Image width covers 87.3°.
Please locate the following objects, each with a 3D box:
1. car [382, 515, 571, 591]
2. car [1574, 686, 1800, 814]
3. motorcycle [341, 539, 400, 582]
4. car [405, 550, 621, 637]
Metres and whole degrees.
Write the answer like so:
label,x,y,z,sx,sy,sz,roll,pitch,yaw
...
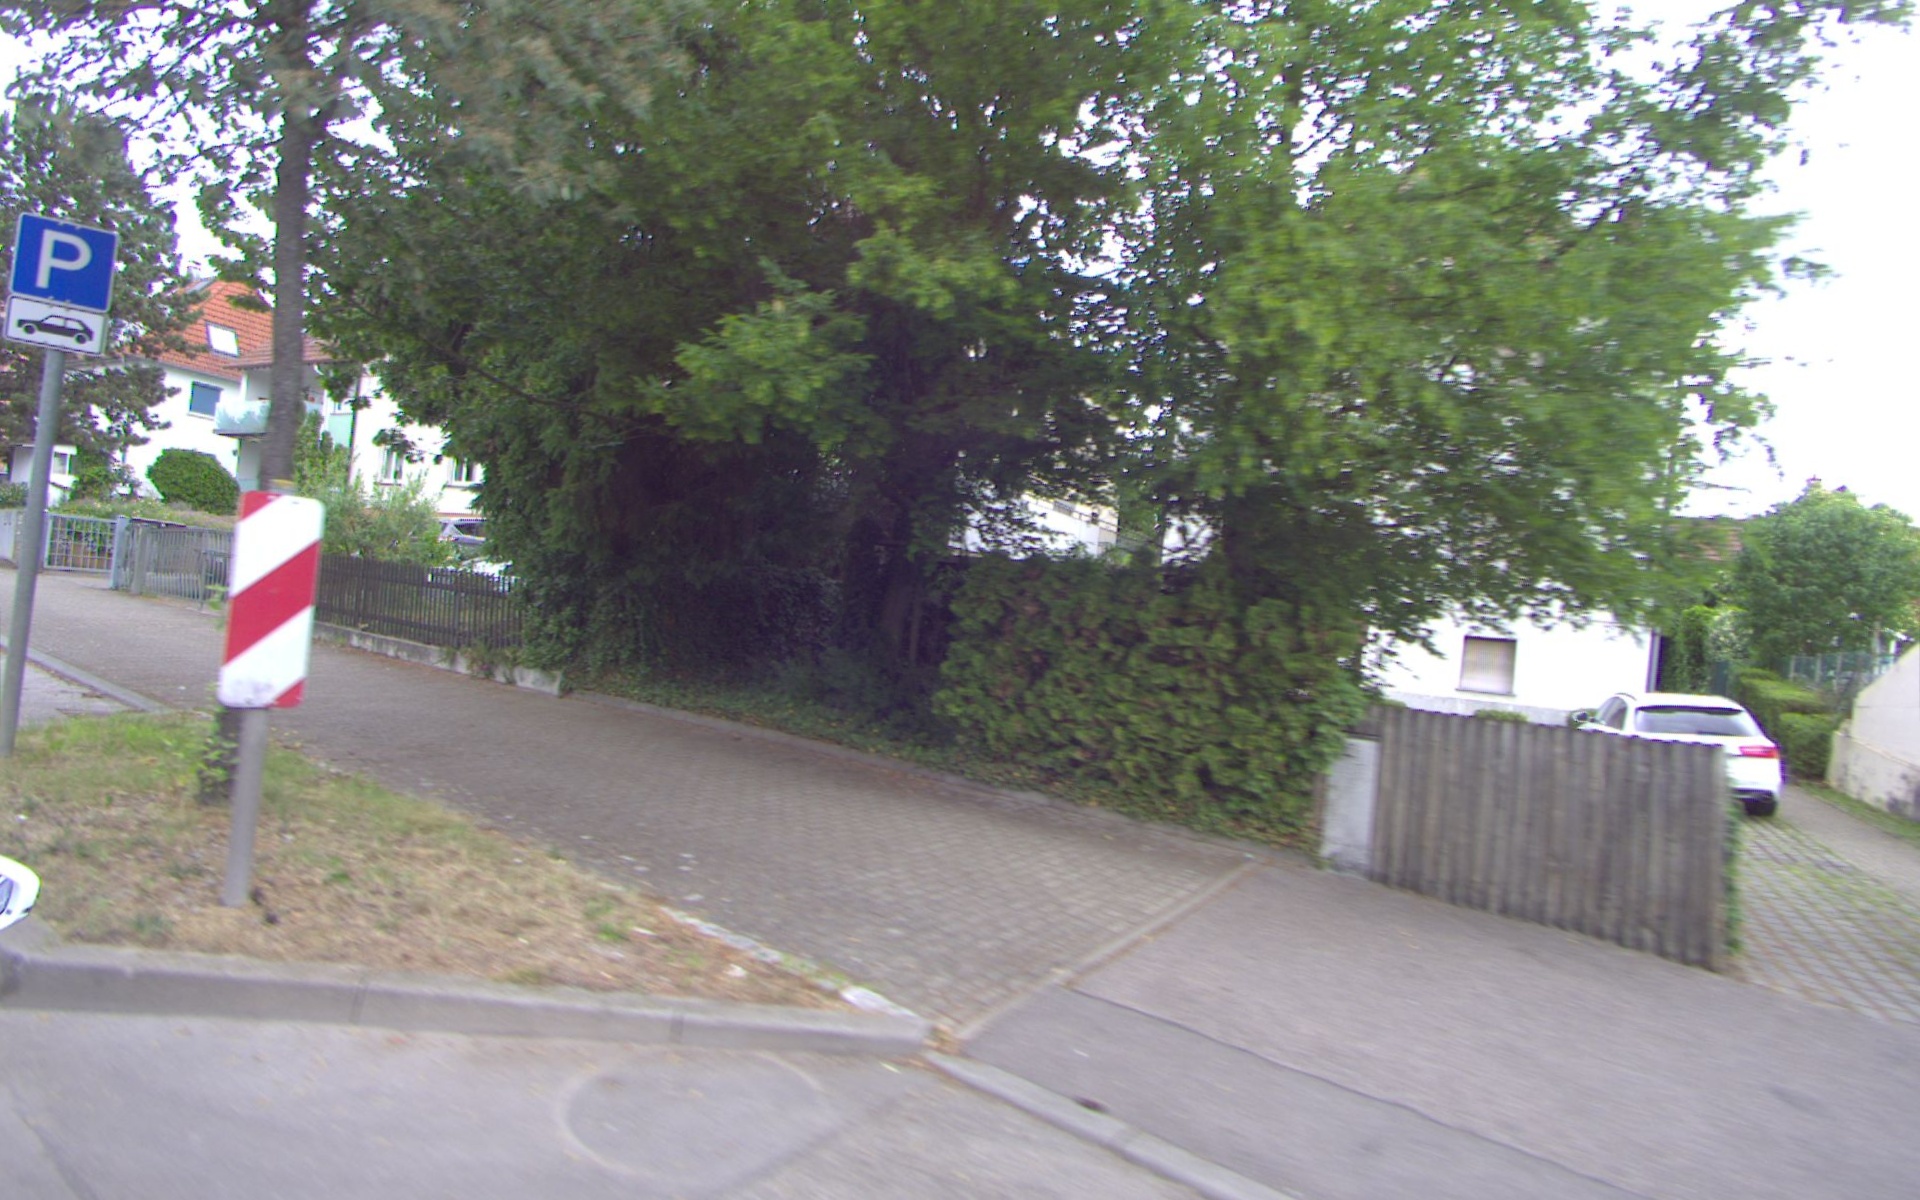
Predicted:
label,x,y,z,sx,sy,sz,roll,pitch,yaw
car,-12.175,-1.151,25.573,1.854,1.727,3.985,3,2,31
car,9.811,1.940,13.922,1.804,1.410,4.094,0,-4,25
motorcycle,-15.164,-1.008,25.908,0.575,1.061,1.222,4,3,23
car,-9.631,-0.091,21.974,1.619,1.409,3.992,6,-2,33
